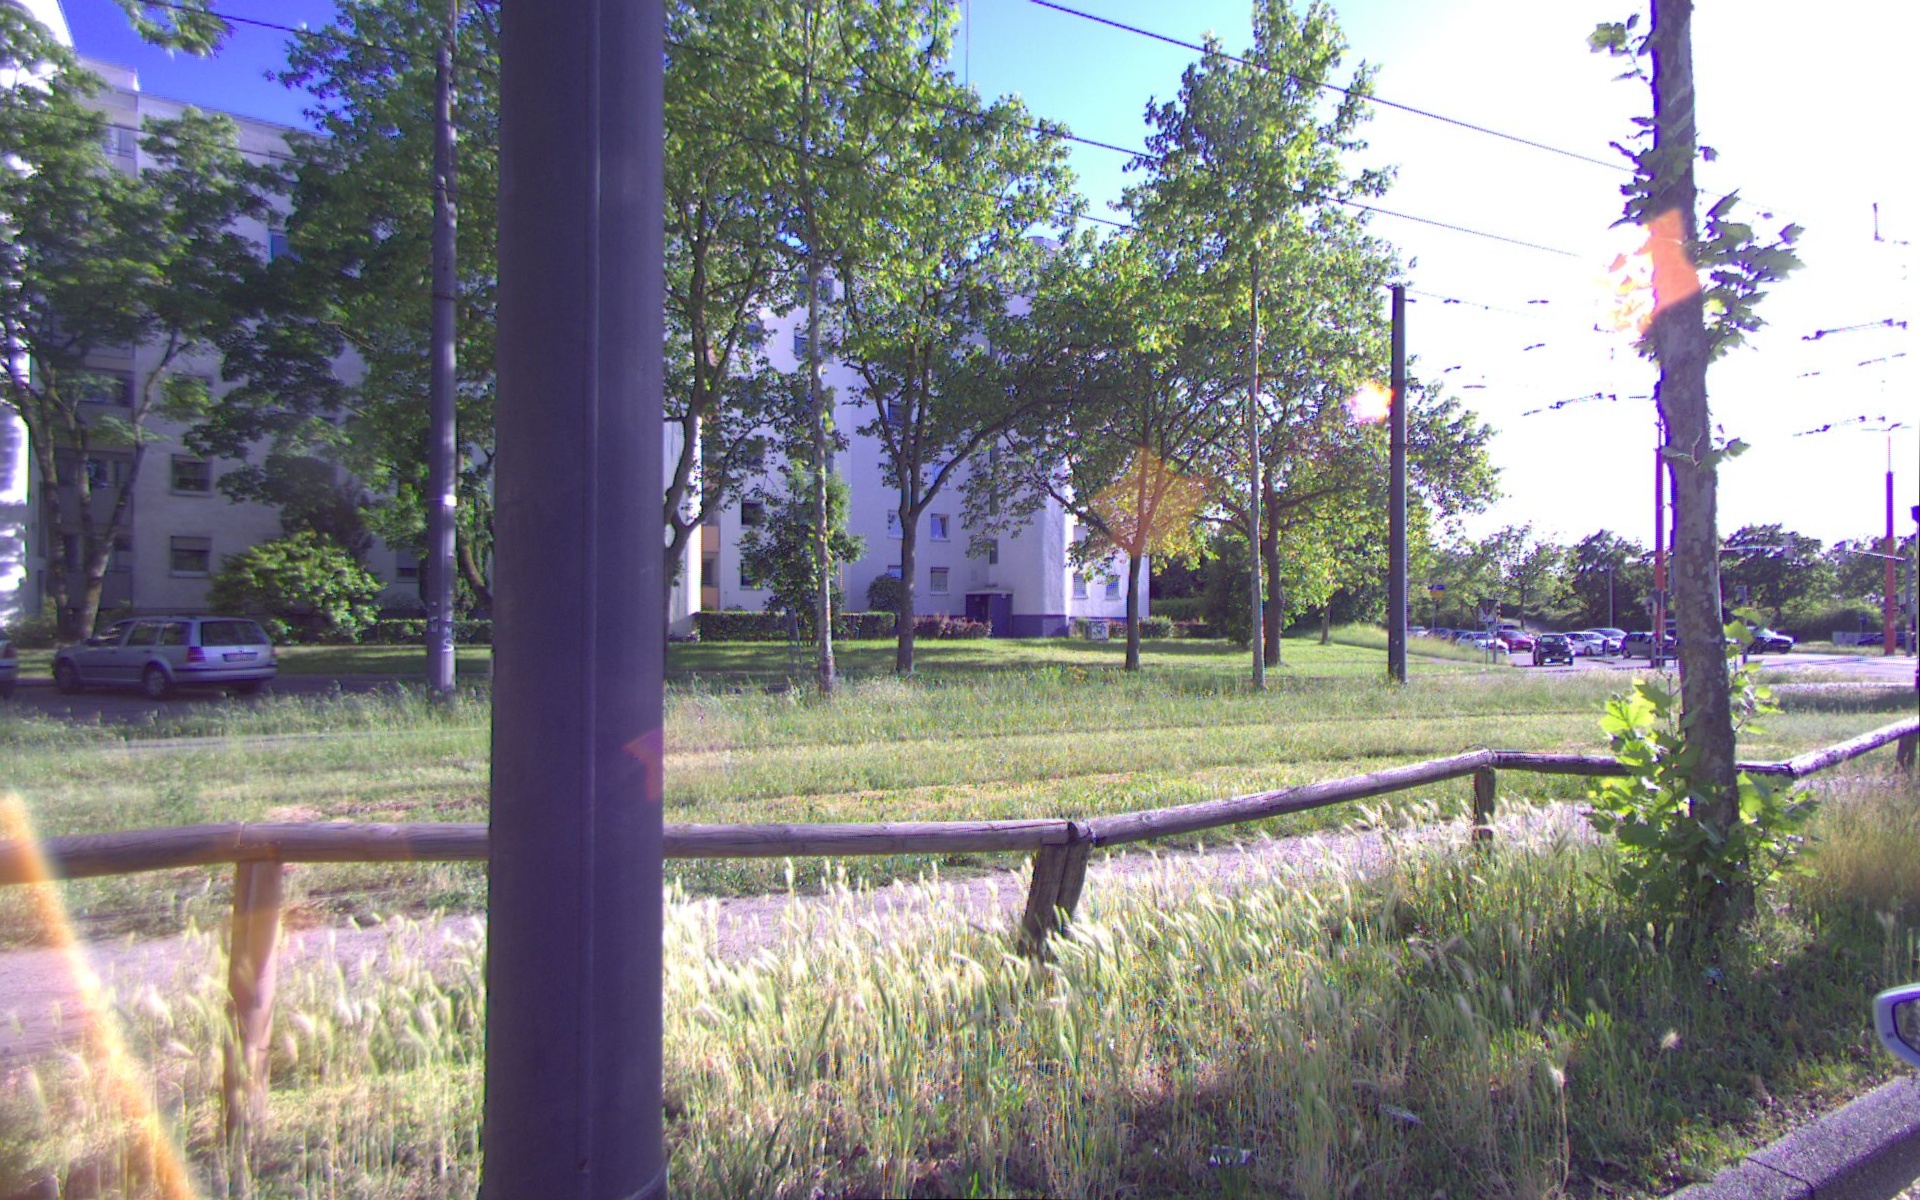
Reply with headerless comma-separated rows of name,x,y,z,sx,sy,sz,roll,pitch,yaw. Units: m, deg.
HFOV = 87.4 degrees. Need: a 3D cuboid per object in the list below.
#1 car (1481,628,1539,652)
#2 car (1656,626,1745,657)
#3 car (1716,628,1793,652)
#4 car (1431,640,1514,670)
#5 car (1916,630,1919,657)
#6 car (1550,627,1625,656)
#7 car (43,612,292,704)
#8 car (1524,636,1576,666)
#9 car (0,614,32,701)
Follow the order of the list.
car,38.458,2.775,70.359,1.699,1.533,3.998,1,-1,-4
car,42.548,2.340,57.811,1.962,1.666,3.997,1,-1,-5
car,48.776,2.423,61.736,1.664,1.347,4.001,1,-1,2
car,33.517,3.593,65.846,1.969,1.754,4.824,1,-1,-19
car,60.383,2.740,60.330,1.725,1.666,4.191,2,0,-3
car,38.978,2.553,62.478,1.833,1.633,4.185,1,-1,-4
car,-14.575,1.006,18.497,3.898,1.462,1.710,1,0,18
car,29.542,2.514,50.270,1.778,1.409,2.834,0,-1,42
car,-17.941,0.951,17.123,3.547,1.439,1.576,1,0,18
